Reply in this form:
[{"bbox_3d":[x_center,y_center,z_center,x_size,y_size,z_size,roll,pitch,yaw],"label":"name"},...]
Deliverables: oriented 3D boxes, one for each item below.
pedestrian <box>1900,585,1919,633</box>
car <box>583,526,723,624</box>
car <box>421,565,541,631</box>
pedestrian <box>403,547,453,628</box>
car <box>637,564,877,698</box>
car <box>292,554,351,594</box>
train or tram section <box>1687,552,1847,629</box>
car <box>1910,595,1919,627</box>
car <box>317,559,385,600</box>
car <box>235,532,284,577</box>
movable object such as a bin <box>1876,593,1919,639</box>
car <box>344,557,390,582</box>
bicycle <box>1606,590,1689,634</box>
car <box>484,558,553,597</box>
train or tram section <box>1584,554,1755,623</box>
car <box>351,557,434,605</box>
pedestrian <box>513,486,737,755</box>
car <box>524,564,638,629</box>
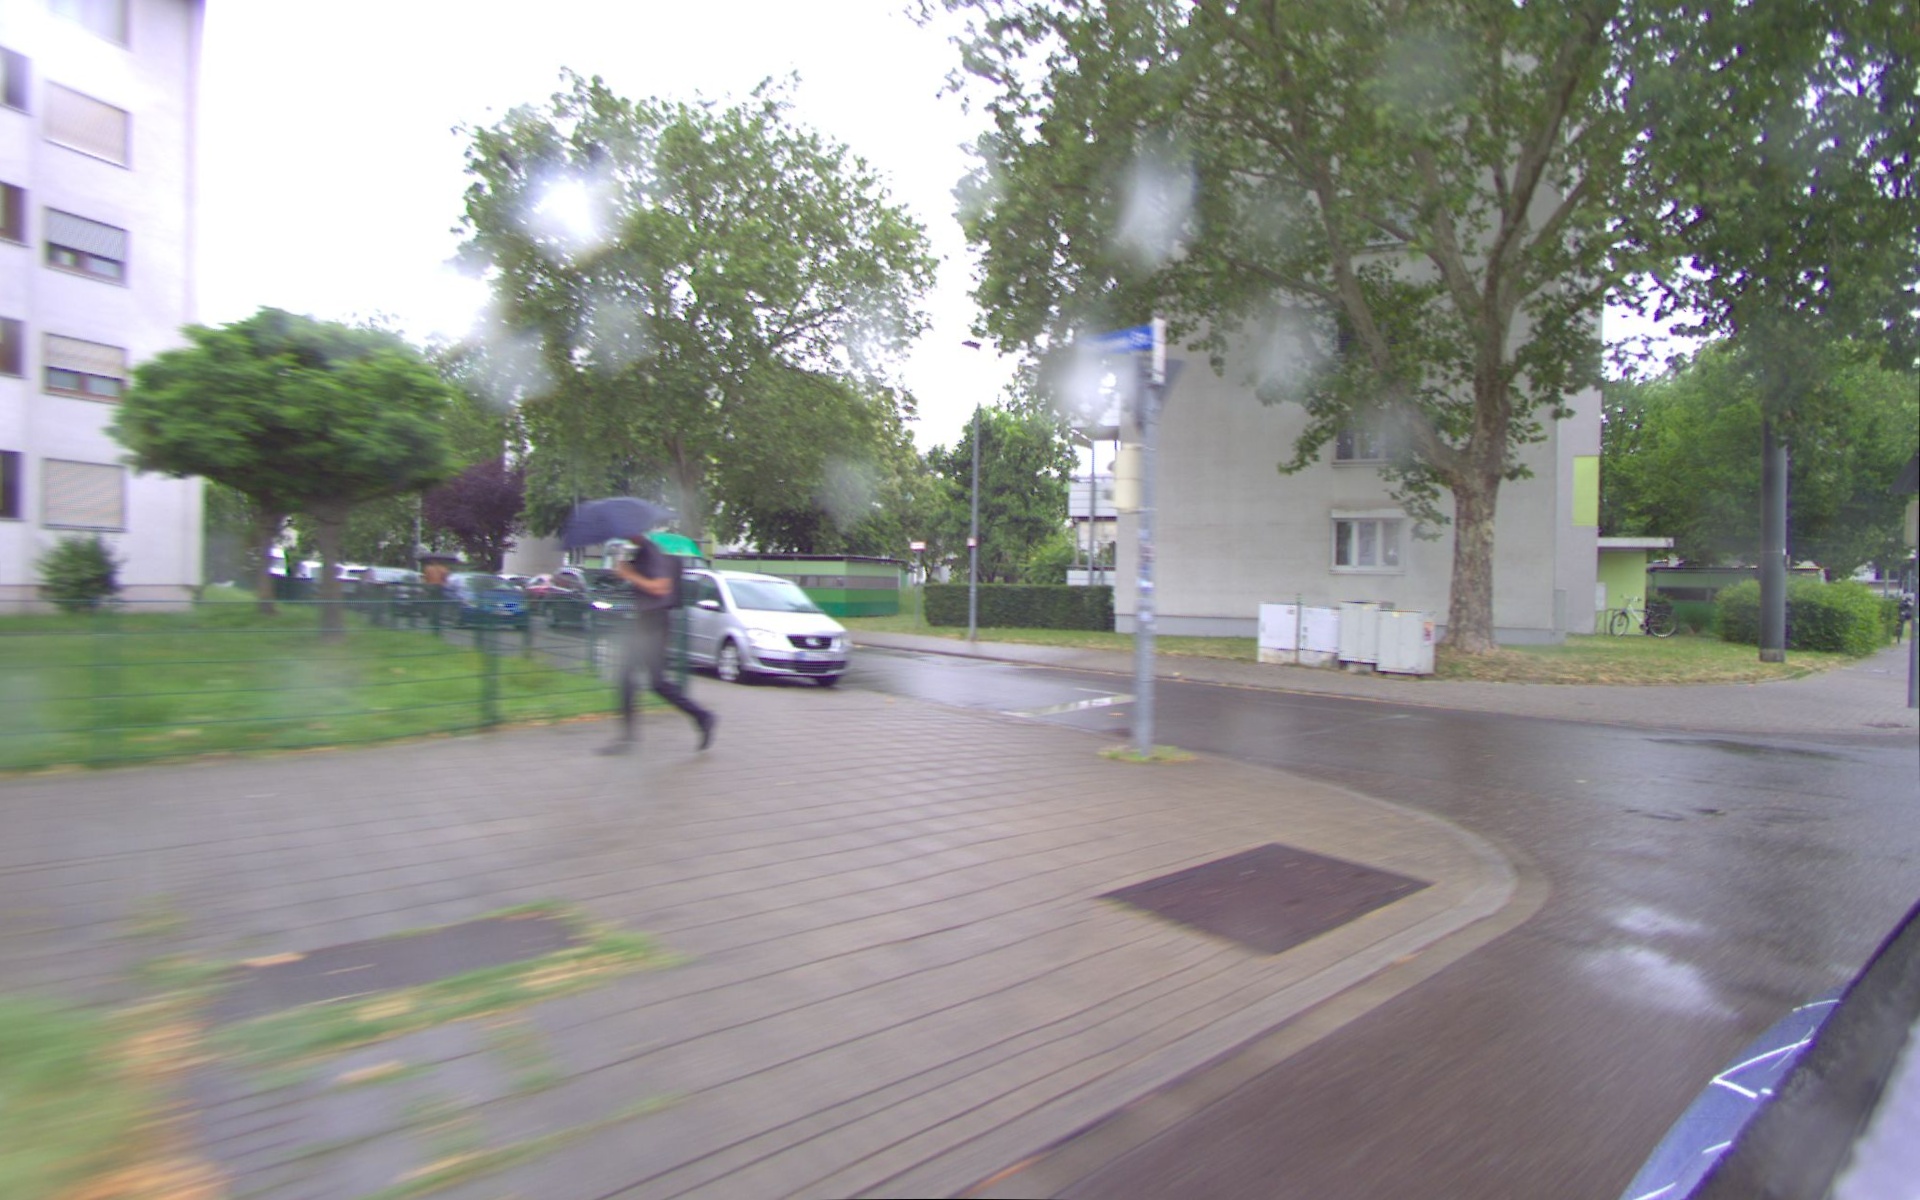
[{"bbox_3d":[36.792,0.356,38.623,1.006,1.796,0.860,2,1,19],"label":"pedestrian"},{"bbox_3d":[-9.880,-0.807,32.173,2.147,2.813,6.136,1,1,-38],"label":"car"},{"bbox_3d":[-12.556,-0.104,26.380,1.902,1.524,4.305,0,2,-38],"label":"car"},{"bbox_3d":[-12.090,-0.282,23.001,0.708,1.791,1.179,1,1,-43],"label":"pedestrian"},{"bbox_3d":[-3.237,0.347,15.479,1.837,1.701,4.305,0,2,-38],"label":"car"},{"bbox_3d":[-29.027,-1.201,45.958,1.656,1.676,4.301,0,2,-41],"label":"car"},{"bbox_3d":[38.529,-0.501,48.637,2.708,3.381,6.395,2,1,4],"label":"train or tram section"},{"bbox_3d":[49.105,0.628,49.095,3.944,1.546,1.711,2,1,16],"label":"car"},{"bbox_3d":[-24.694,-0.846,40.962,1.656,1.524,4.301,0,2,-41],"label":"car"},{"bbox_3d":[-42.985,-2.803,62.059,2.043,2.613,4.921,0,2,-40],"label":"car"},{"bbox_3d":[31.292,0.532,33.220,1.134,1.458,1.473,2,1,9],"label":"movable object such as a bin"},{"bbox_3d":[-37.624,-1.942,64.146,1.711,1.524,3.998,0,2,-42],"label":"car"},{"bbox_3d":[19.494,0.327,28.741,1.841,1.156,0.529,2,0,25],"label":"bicycle"},{"bbox_3d":[-18.853,-0.962,43.129,1.708,1.524,4.003,1,1,-38],"label":"car"},{"bbox_3d":[39.050,-0.717,56.303,2.708,3.381,10.343,2,1,4],"label":"train or tram section"},{"bbox_3d":[-19.611,-0.679,34.910,1.656,1.524,4.301,0,2,-41],"label":"car"},{"bbox_3d":[-2.577,0.134,7.749,1.405,1.836,1.104,1,1,-30],"label":"pedestrian"},{"bbox_3d":[-10.762,-0.147,28.605,1.745,1.671,3.995,1,1,-41],"label":"car"}]
